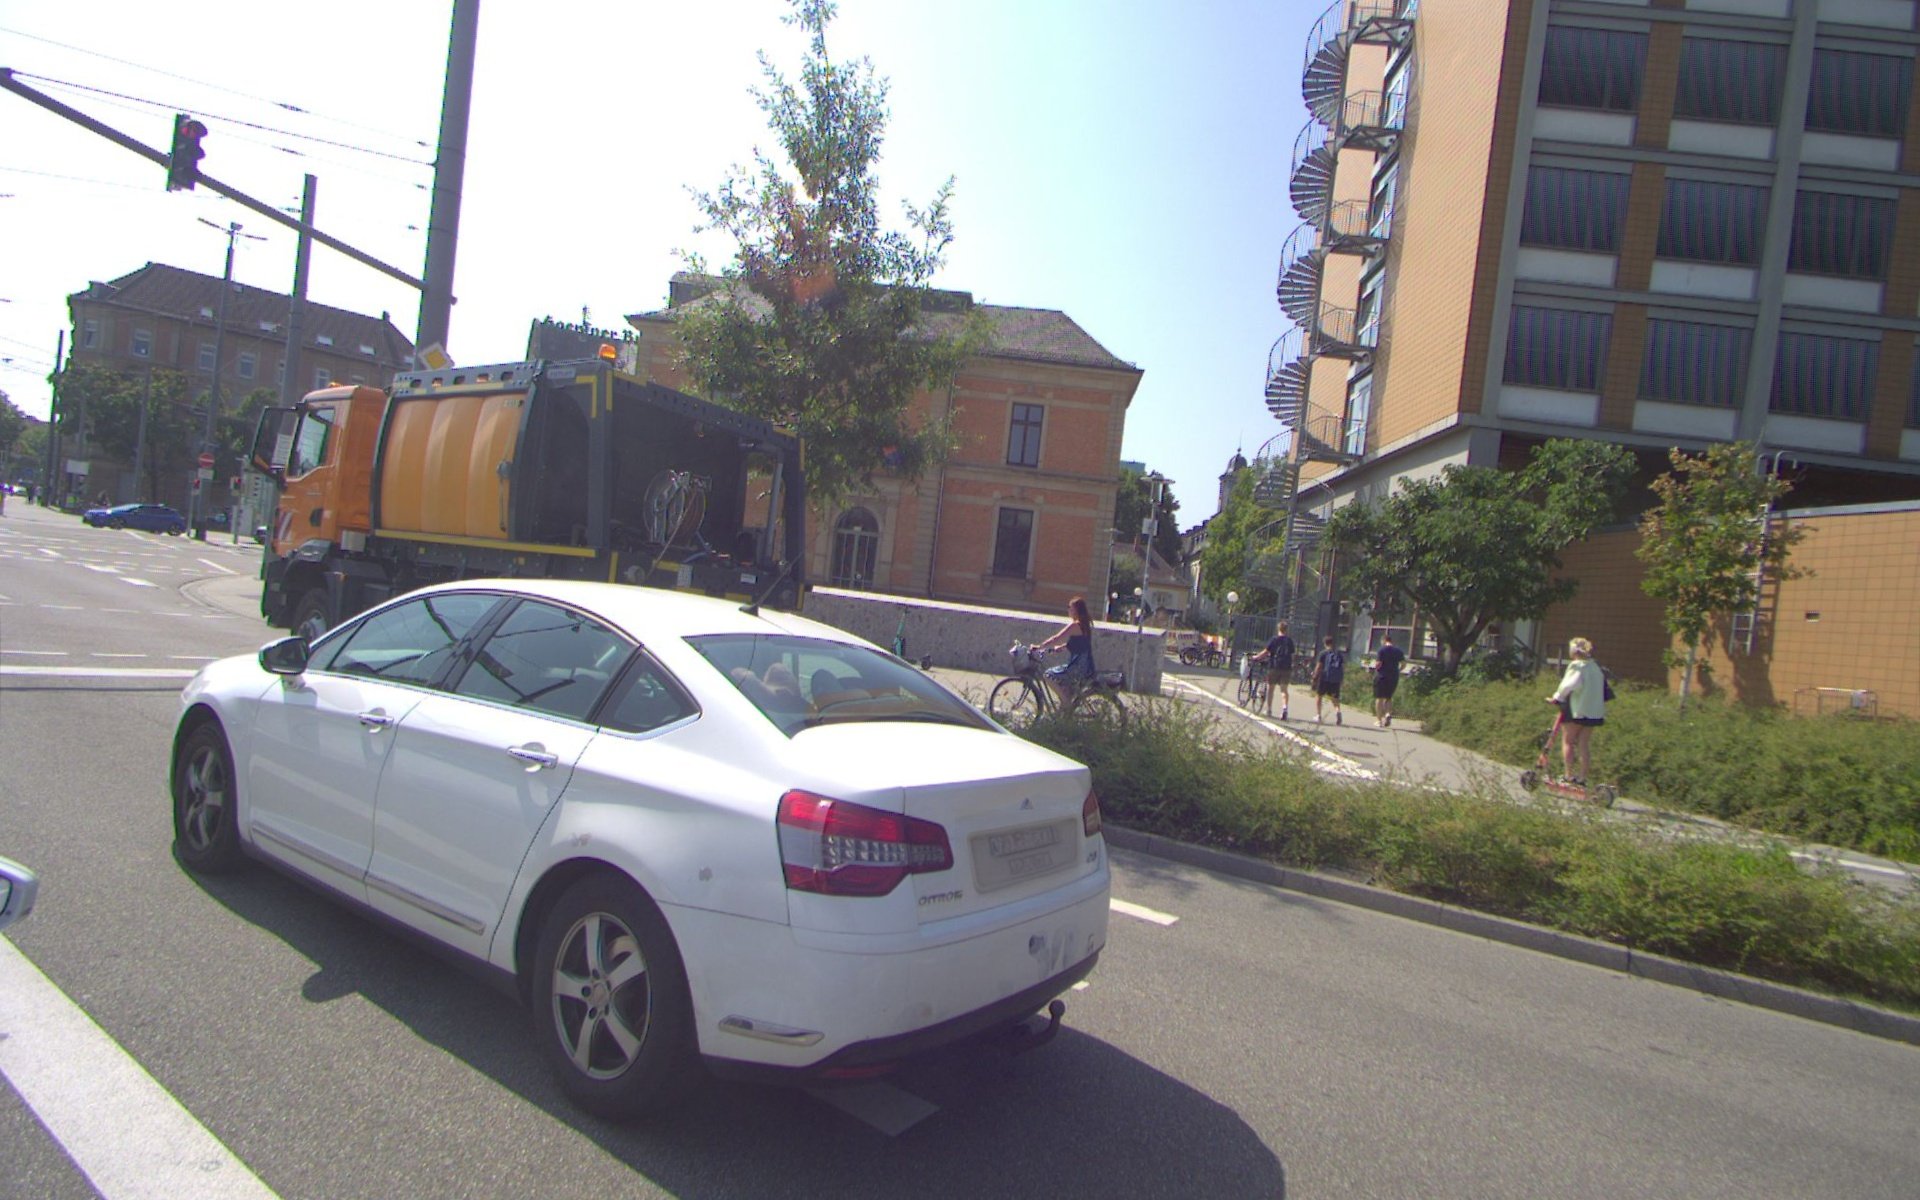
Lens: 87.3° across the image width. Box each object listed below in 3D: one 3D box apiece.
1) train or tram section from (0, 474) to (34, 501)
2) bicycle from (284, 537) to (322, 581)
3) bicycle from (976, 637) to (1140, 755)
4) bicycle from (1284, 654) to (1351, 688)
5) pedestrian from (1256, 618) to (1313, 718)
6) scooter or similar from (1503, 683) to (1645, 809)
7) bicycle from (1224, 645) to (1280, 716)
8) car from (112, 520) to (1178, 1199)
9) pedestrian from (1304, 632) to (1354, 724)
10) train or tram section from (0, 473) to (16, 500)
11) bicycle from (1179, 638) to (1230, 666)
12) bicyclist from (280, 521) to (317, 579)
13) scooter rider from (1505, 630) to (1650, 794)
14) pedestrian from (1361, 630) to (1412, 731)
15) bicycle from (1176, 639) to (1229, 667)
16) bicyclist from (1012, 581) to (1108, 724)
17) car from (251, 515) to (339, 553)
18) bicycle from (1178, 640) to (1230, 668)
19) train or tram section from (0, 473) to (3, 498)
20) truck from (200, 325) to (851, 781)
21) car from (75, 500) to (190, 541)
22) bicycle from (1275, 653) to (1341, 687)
[{"bbox_3d":[-146.679,-17.464,155.877,2.573,3.560,12.848,6,0,-35],"label":"train or tram section"},{"bbox_3d":[-18.351,-1.150,28.087,0.534,1.068,1.633,6,1,-44],"label":"bicycle"},{"bbox_3d":[1.094,1.073,11.571,1.795,1.068,0.491,7,1,38],"label":"bicycle"},{"bbox_3d":[11.434,2.266,32.235,1.866,0.850,0.549,7,1,8],"label":"bicycle"},{"bbox_3d":[6.371,1.311,19.784,0.665,1.862,0.837,6,1,3],"label":"pedestrian"},{"bbox_3d":[7.327,1.723,12.050,0.643,1.294,1.171,8,-1,-23],"label":"scooter or similar"},{"bbox_3d":[5.775,1.561,19.960,0.474,1.227,1.848,6,0,1],"label":"bicycle"},{"bbox_3d":[-1.632,0.618,4.216,4.537,1.446,1.769,7,0,35],"label":"car"},{"bbox_3d":[7.193,1.501,19.656,0.665,1.695,0.837,6,1,15],"label":"pedestrian"},{"bbox_3d":[-140.552,-16.713,146.734,2.572,3.560,9.567,6,0,-35],"label":"train or tram section"},{"bbox_3d":[9.799,2.079,40.312,1.866,0.850,0.549,7,1,8],"label":"bicycle"},{"bbox_3d":[-18.654,-1.398,28.362,0.625,1.537,0.703,6,1,-44],"label":"bicyclist"},{"bbox_3d":[7.388,1.324,12.070,0.849,1.778,1.034,8,-1,-25],"label":"scooter rider"},{"bbox_3d":[8.448,1.579,19.948,0.617,1.895,0.837,6,1,15],"label":"pedestrian"},{"bbox_3d":[9.330,2.049,38.798,1.866,0.850,0.549,7,1,8],"label":"bicycle"},{"bbox_3d":[1.155,0.610,11.602,0.653,1.537,0.733,7,1,38],"label":"bicyclist"},{"bbox_3d":[-38.271,-3.755,58.035,1.721,1.638,4.337,7,0,6],"label":"car"},{"bbox_3d":[9.624,2.122,39.665,1.866,0.850,0.549,7,1,8],"label":"bicycle"},{"bbox_3d":[-134.847,-16.127,138.324,2.571,3.560,10.800,6,0,-33],"label":"train or tram section"},{"bbox_3d":[-4.602,-0.523,9.941,6.754,3.172,2.494,7,-1,36],"label":"truck"},{"bbox_3d":[-40.519,-3.869,49.332,1.568,1.411,3.995,7,0,26],"label":"car"},{"bbox_3d":[11.377,2.286,32.919,1.866,0.850,0.549,7,1,8],"label":"bicycle"}]
